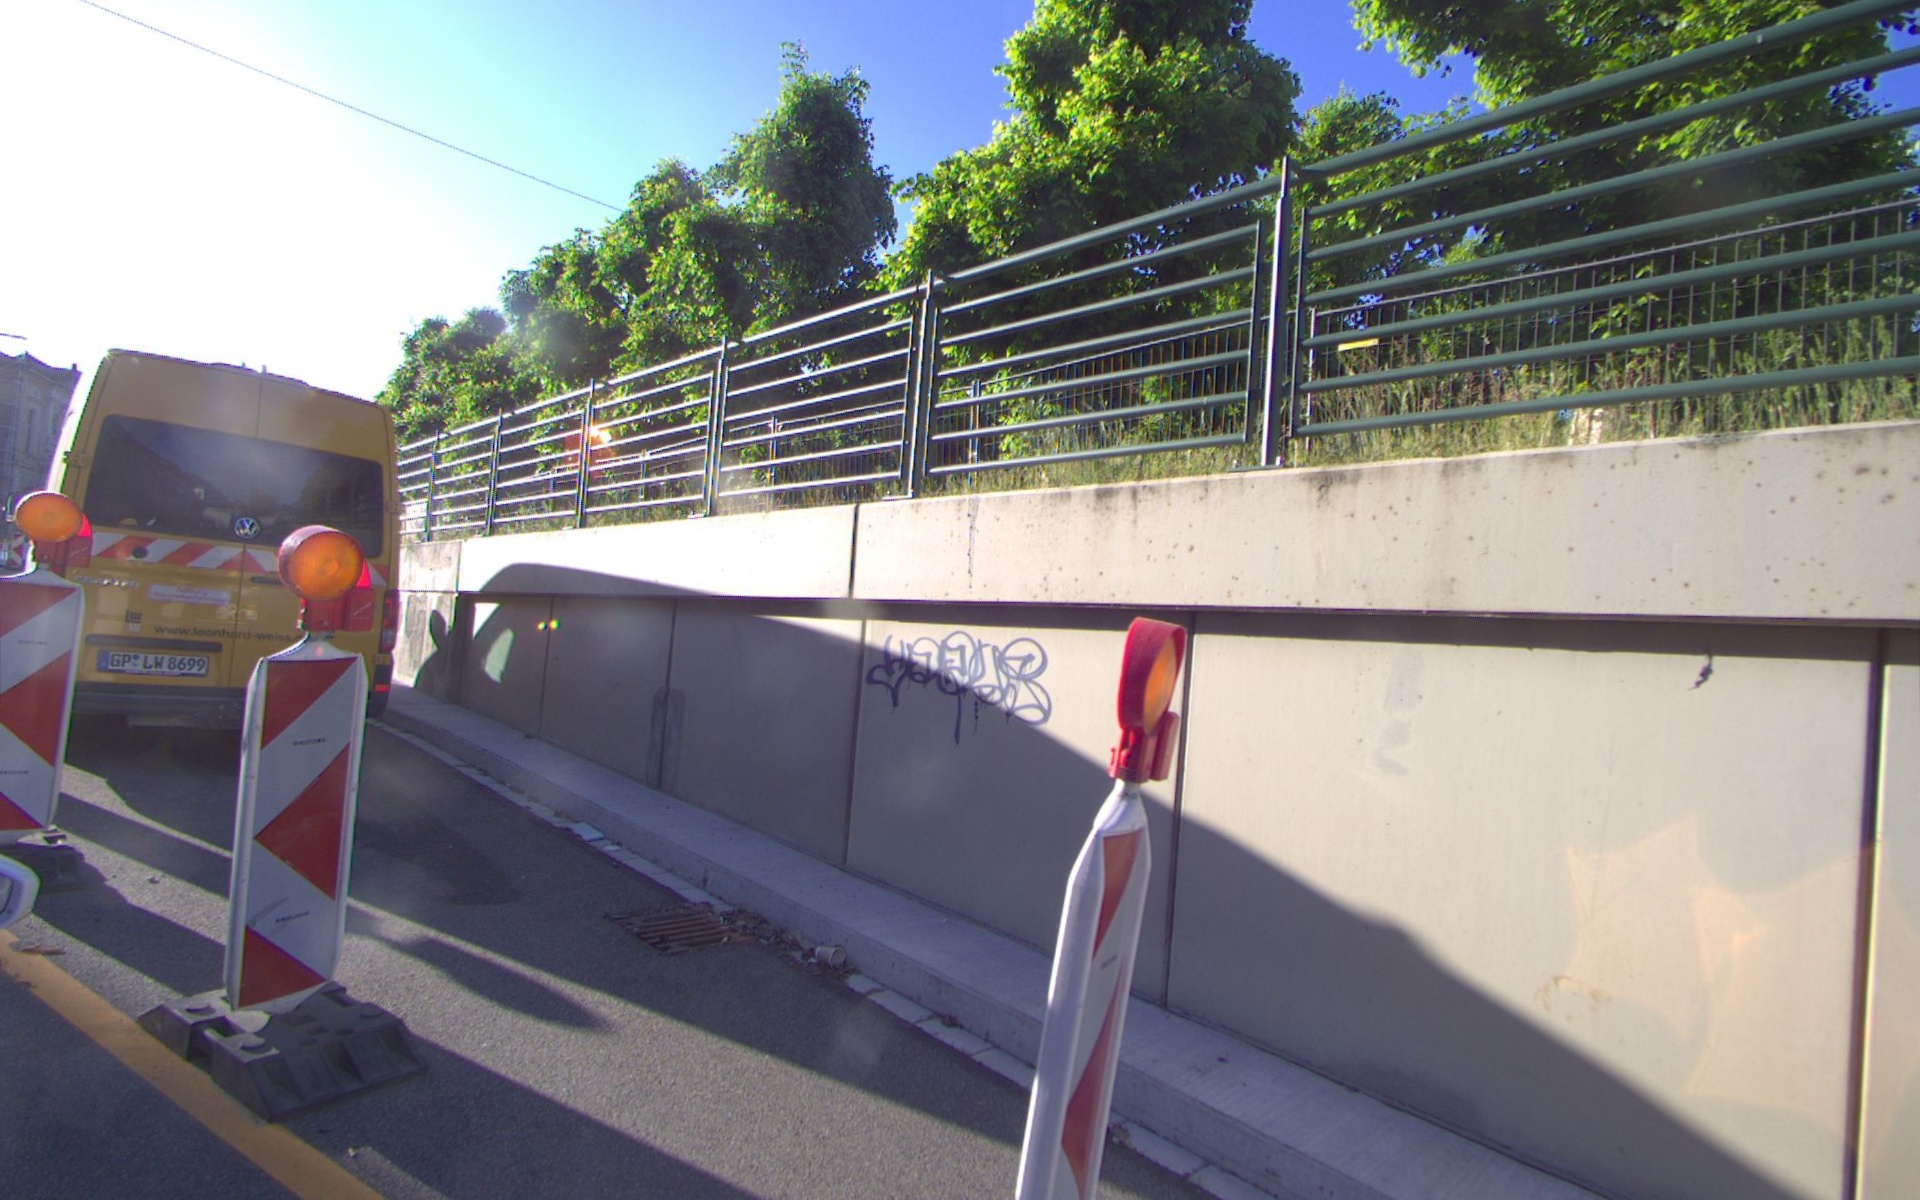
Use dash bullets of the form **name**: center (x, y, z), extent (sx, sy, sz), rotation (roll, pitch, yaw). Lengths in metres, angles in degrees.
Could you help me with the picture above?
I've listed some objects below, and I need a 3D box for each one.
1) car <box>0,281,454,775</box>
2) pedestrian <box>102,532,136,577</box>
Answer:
- **car**: center (-6.656, -0.475, 8.651), extent (2.105, 2.656, 6.904), rotation (7, -1, -43)
- **pedestrian**: center (-35.112, -1.897, 41.996), extent (0.969, 1.749, 0.790), rotation (4, -2, -38)
